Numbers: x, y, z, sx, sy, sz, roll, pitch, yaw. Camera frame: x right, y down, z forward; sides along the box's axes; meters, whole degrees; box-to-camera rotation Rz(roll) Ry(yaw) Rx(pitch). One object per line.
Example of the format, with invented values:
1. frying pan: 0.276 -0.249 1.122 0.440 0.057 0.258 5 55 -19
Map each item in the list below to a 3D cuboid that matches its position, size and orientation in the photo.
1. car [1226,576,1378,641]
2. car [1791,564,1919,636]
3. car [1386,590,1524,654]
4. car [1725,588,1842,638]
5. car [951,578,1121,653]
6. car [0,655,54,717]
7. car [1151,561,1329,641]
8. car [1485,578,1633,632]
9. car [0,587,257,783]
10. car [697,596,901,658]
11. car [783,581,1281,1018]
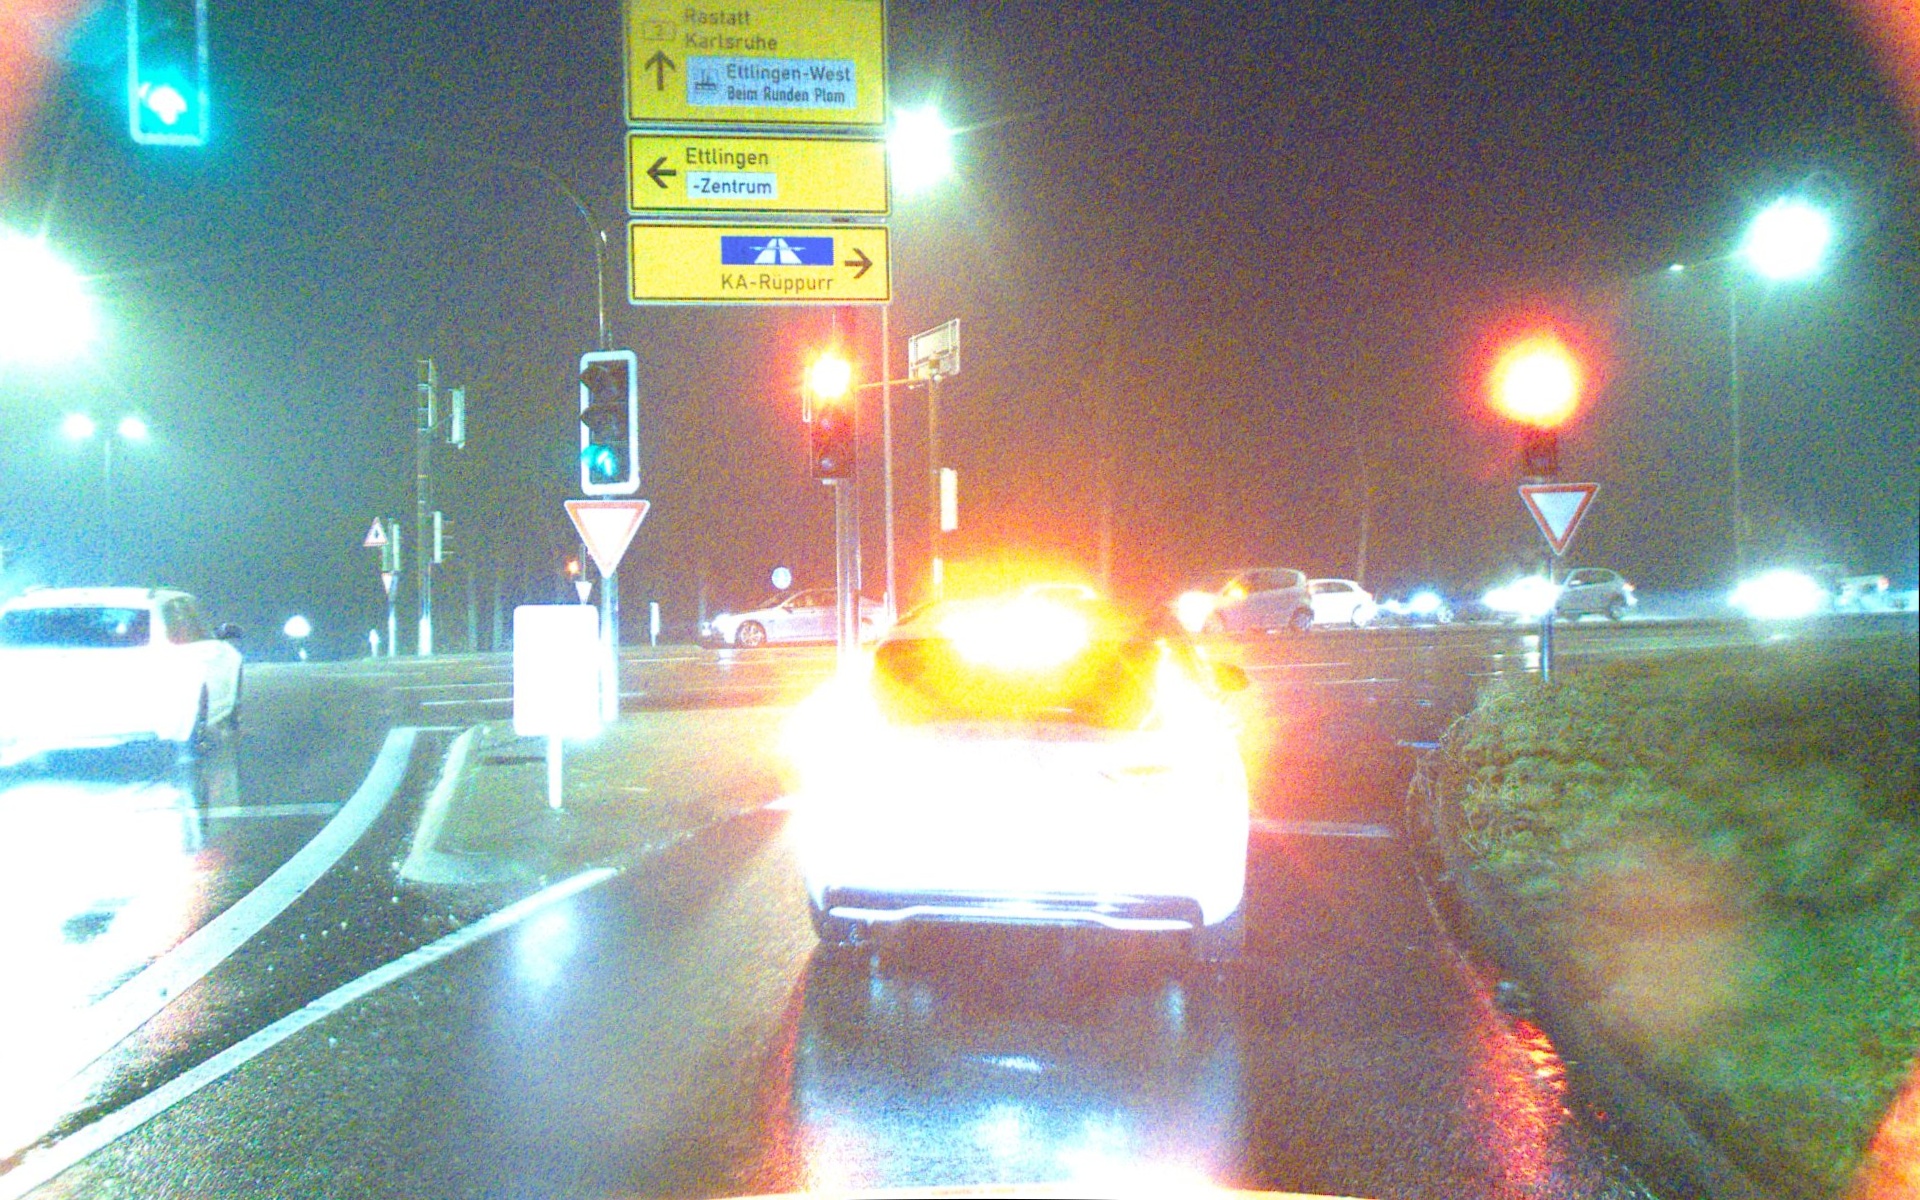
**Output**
1. car: 9.971 0.266 48.143 4.187 1.830 1.788 1 -1 -28
2. car: 35.764 0.045 65.614 5.524 2.757 2.237 1 -1 -27
3. car: 15.233 0.674 50.878 4.064 1.880 1.749 1 -1 -28
4. car: 29.601 0.458 59.433 4.064 1.744 1.749 1 -1 -28
5. car: 2.027 0.416 43.749 4.221 1.880 1.749 1 -1 -28
6. car: -34.503 3.092 60.302 1.784 2.049 3.981 1 0 -17
7. car: 6.578 -0.004 38.895 3.841 1.755 1.751 -1 1 -26
8. car: 17.327 0.150 47.857 3.991 1.513 1.705 1 -1 -24
9. car: -7.490 0.668 14.834 1.672 1.489 4.295 0 0 -16
10. car: -3.938 0.668 40.662 4.730 1.452 1.750 1 -1 -27
11. car: 0.557 0.661 7.936 1.758 1.477 4.272 0 1 9
